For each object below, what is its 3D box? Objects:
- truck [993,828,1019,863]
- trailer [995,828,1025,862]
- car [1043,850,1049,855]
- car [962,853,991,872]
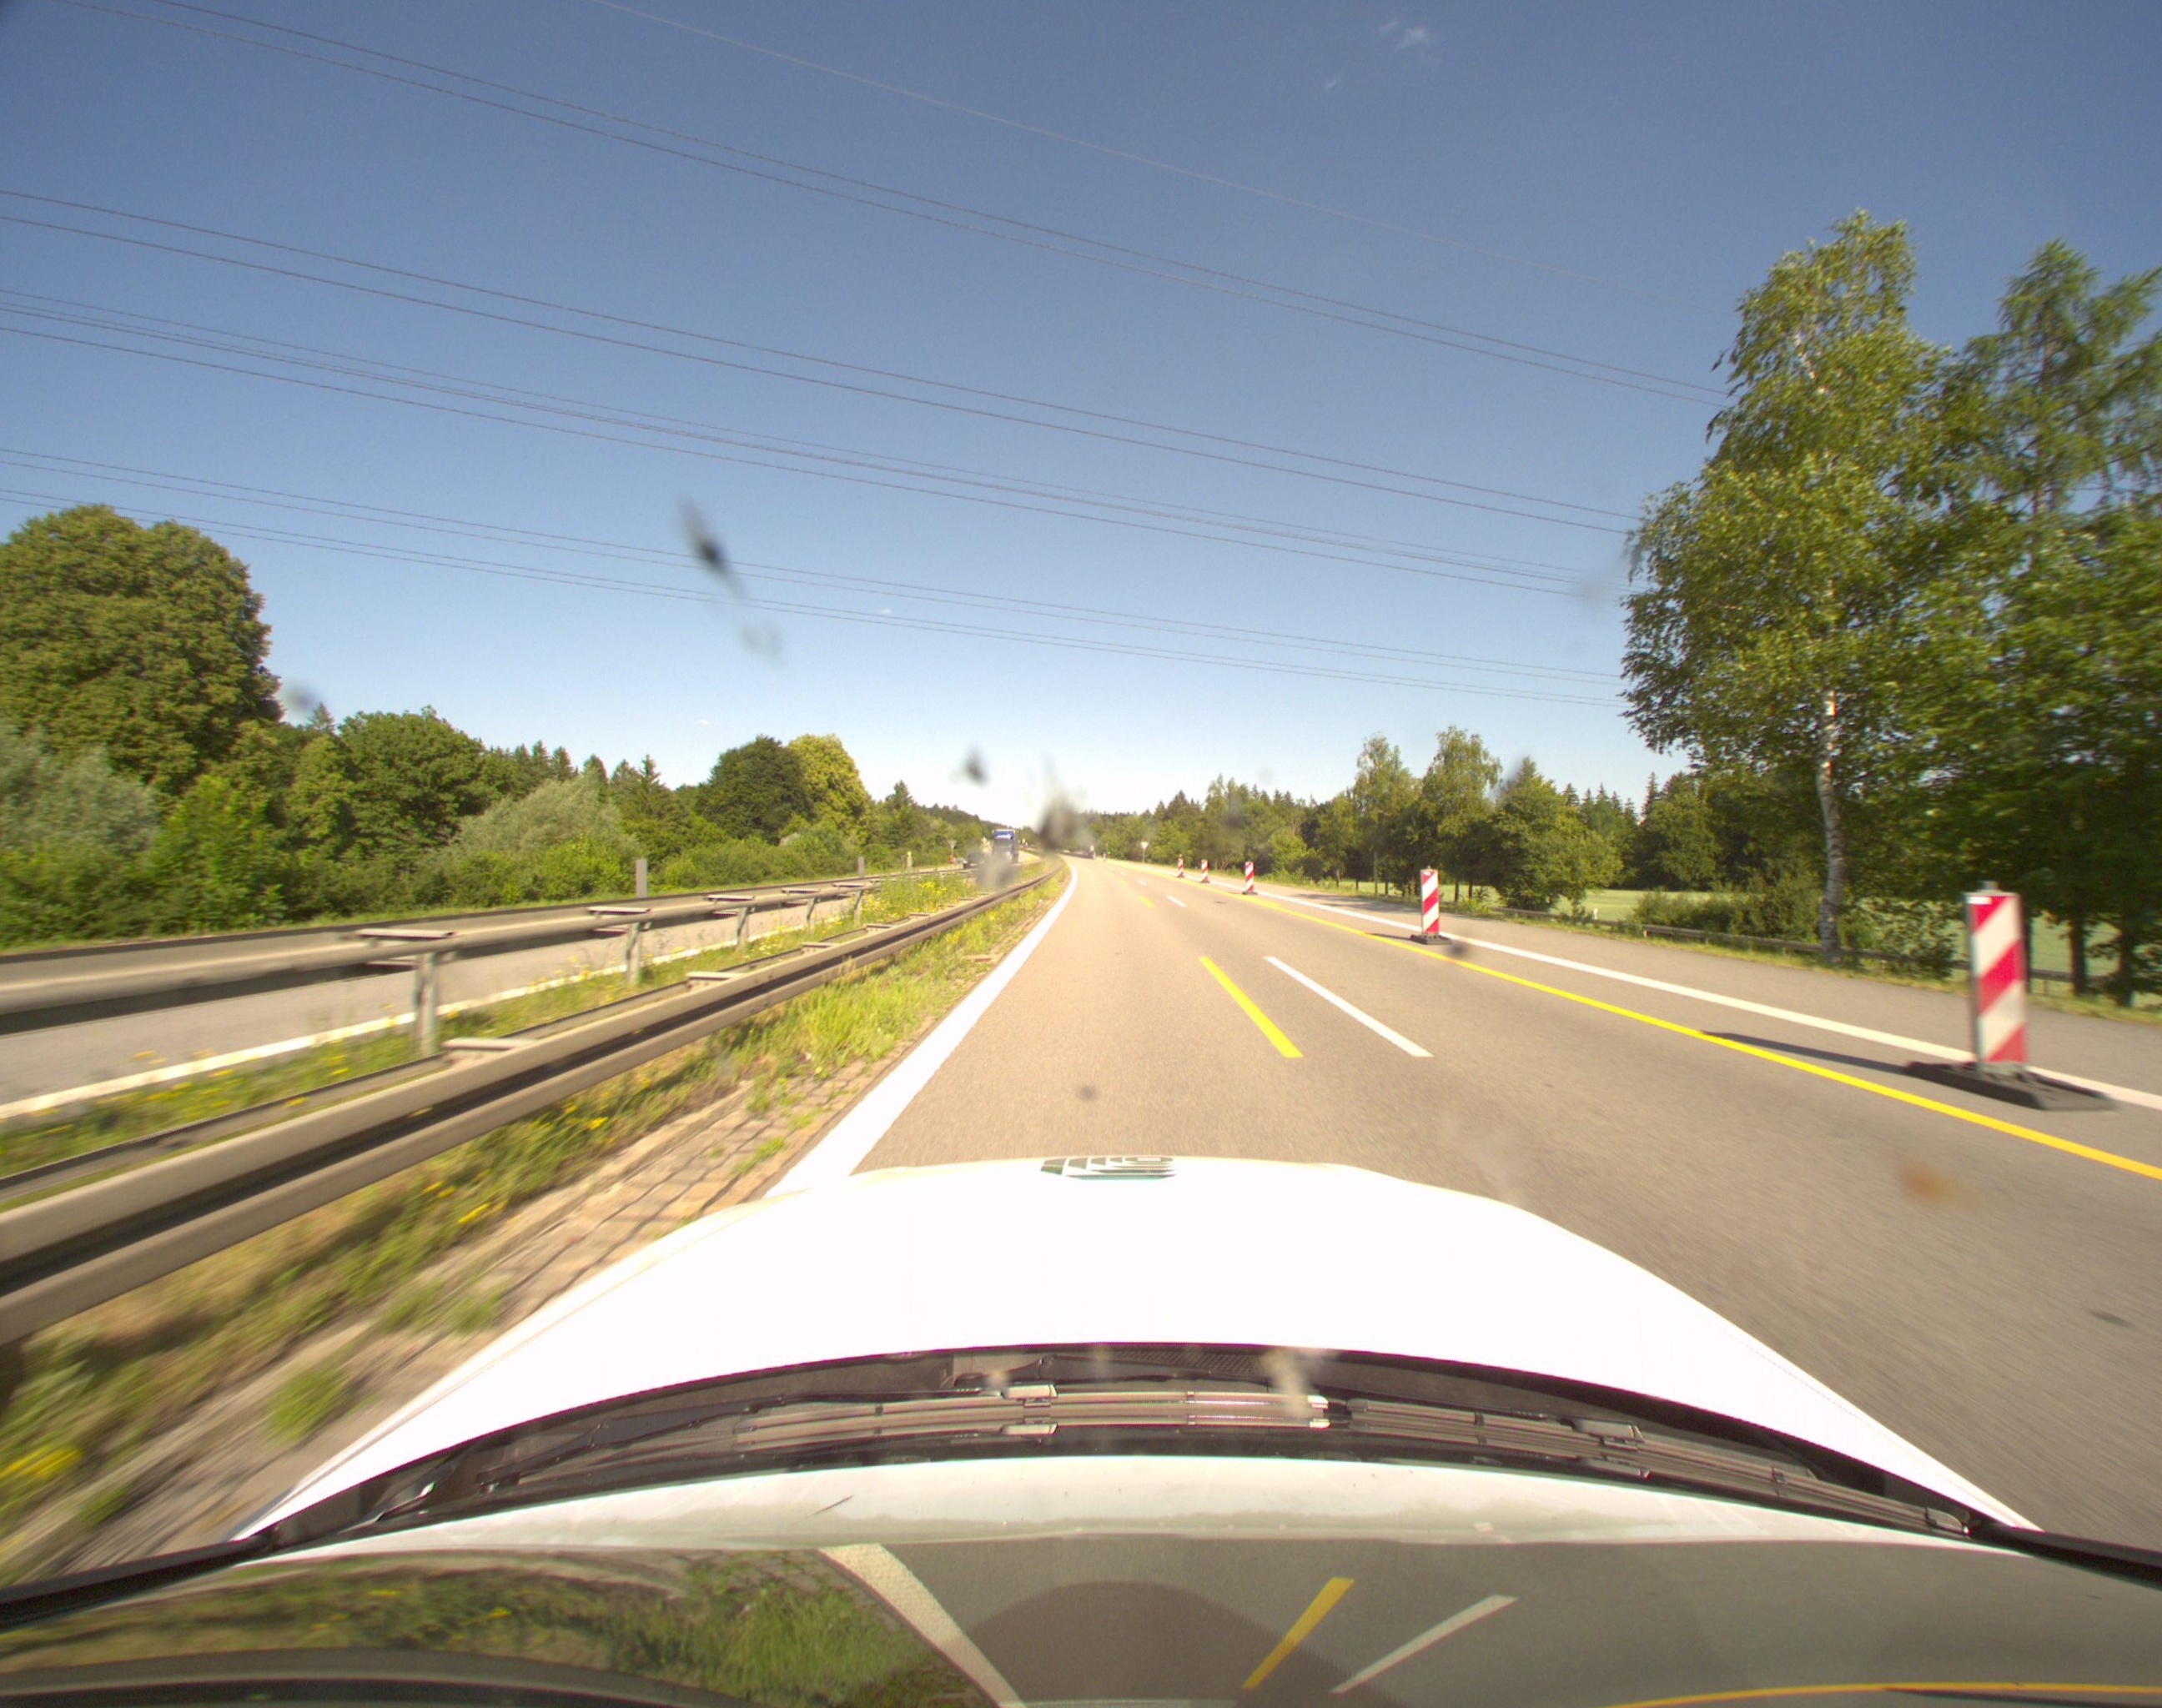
[{"bbox_3d":[-8.739,-0.967,95.540,2.624,3.959,5.841,0,0,-1],"label":"truck"},{"bbox_3d":[-8.762,-1.071,101.950,2.670,3.954,13.766,0,0,0],"label":"trailer"},{"bbox_3d":[-11.087,-0.579,259.071,1.742,1.466,4.284,2,1,-7],"label":"car"},{"bbox_3d":[-8.468,0.667,66.176,1.771,1.429,4.268,-1,0,0],"label":"car"}]
